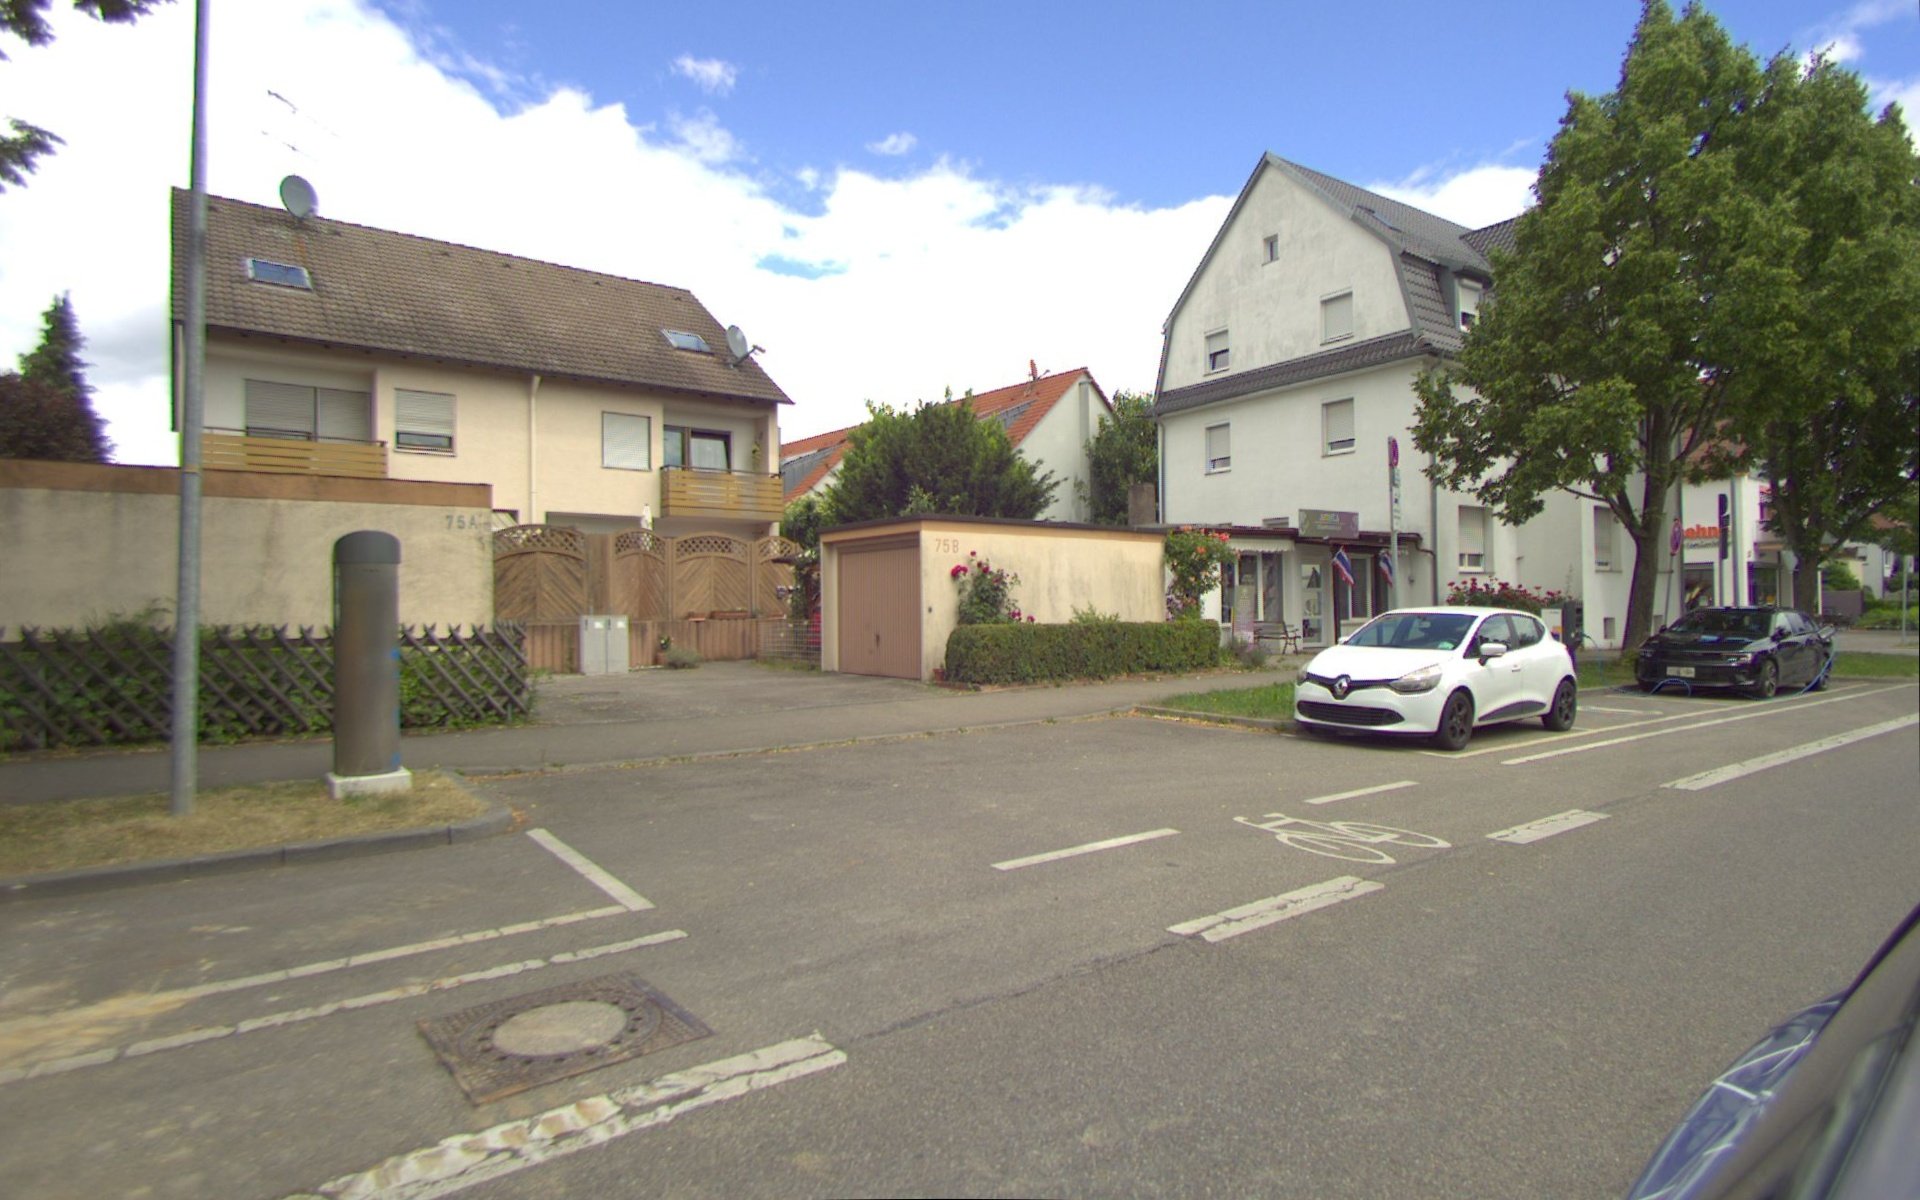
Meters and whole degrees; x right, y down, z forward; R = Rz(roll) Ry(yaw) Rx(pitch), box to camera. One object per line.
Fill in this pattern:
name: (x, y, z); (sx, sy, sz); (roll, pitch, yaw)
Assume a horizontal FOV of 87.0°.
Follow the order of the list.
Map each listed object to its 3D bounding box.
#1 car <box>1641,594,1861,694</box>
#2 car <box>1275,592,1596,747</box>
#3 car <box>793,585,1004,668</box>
car: (13.375, 0.643, 17.026); (4.529, 1.473, 1.711); (0, 0, -35)
car: (5.479, 0.657, 11.497); (3.926, 1.481, 1.677); (0, 0, -37)
car: (-1.169, 0.472, 20.088); (3.926, 1.481, 1.677); (0, 0, -37)
